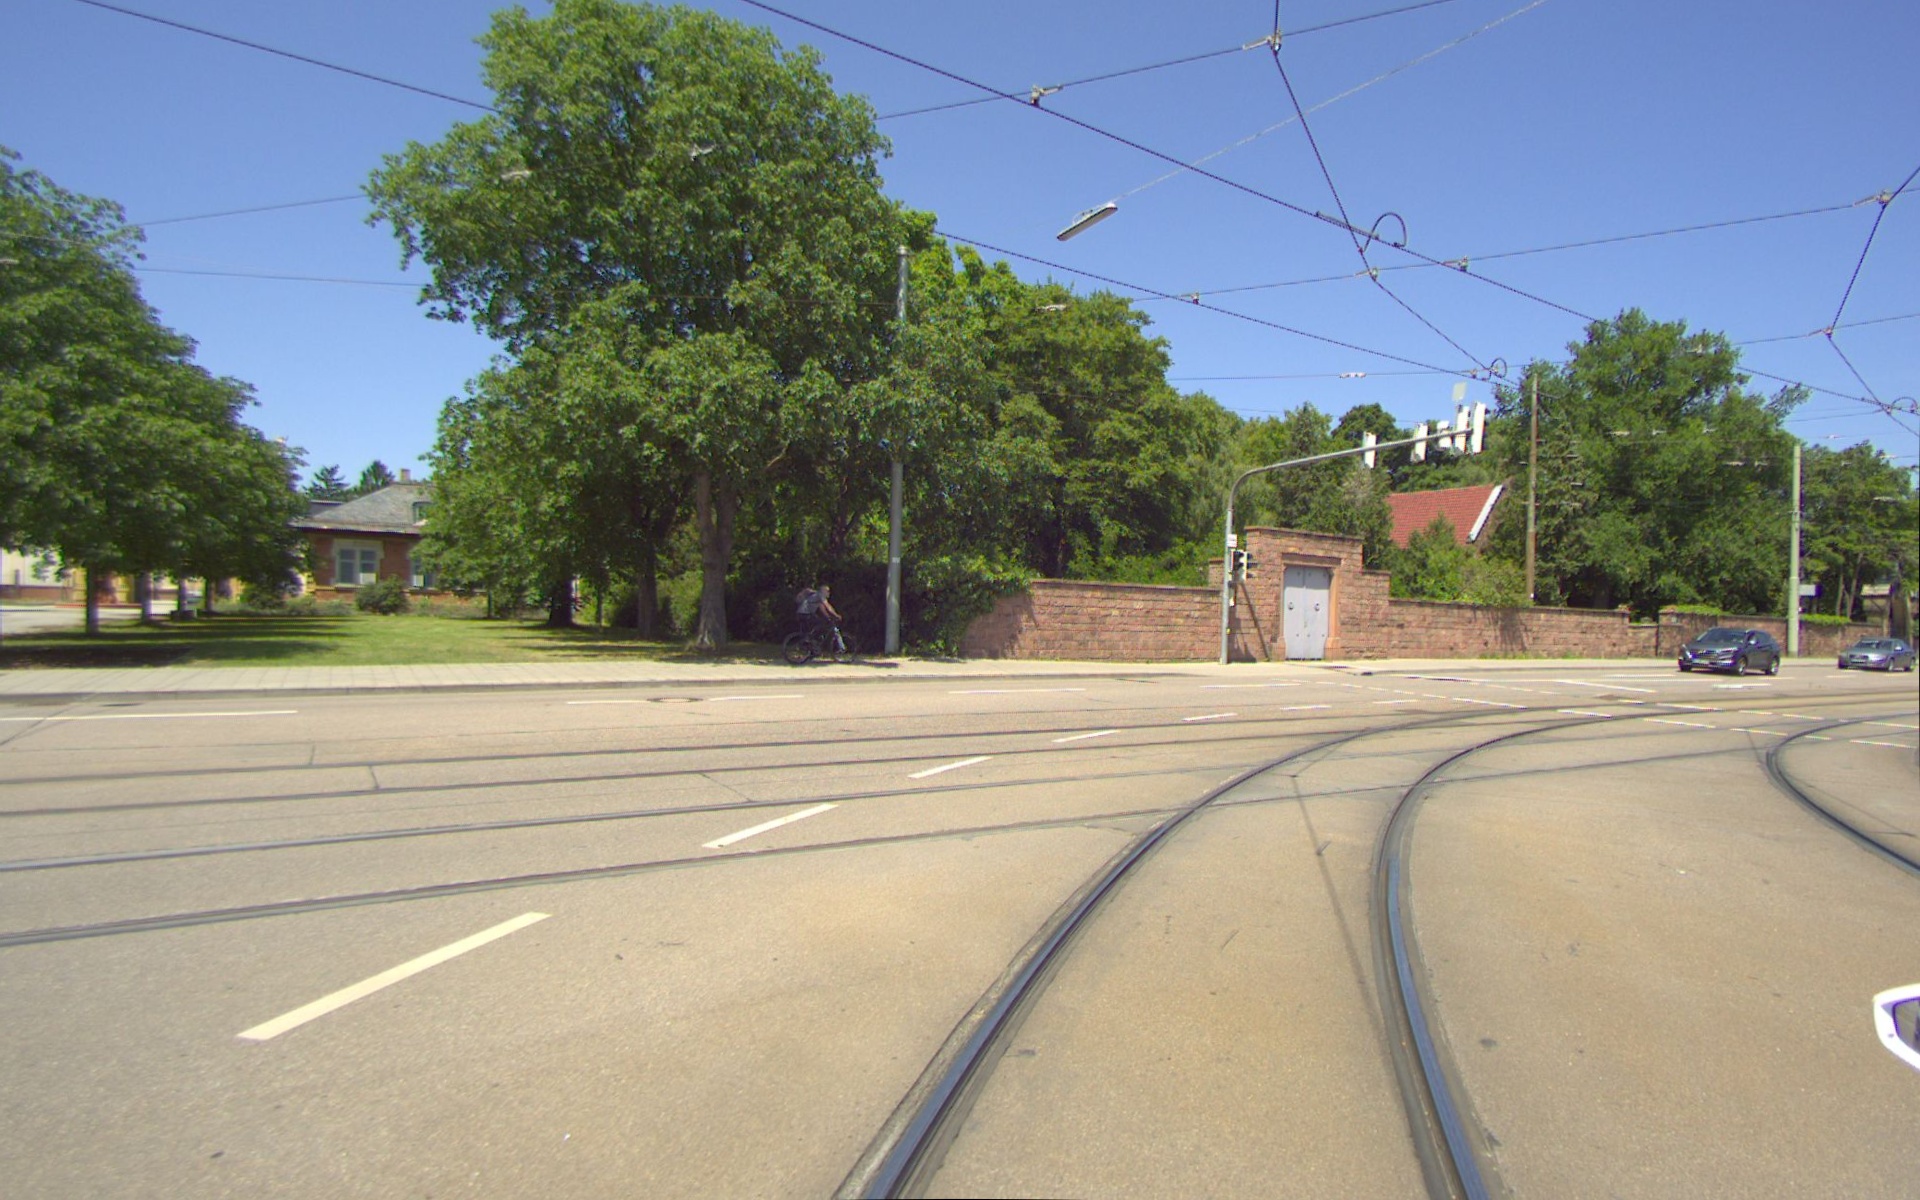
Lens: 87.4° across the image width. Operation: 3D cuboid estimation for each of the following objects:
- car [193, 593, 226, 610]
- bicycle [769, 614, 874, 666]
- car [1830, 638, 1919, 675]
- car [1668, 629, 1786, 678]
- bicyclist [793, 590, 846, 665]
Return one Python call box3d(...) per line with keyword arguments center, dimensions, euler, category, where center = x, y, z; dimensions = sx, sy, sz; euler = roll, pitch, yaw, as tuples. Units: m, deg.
box3d(center=(-43.933, 0.086, 58.834), dimensions=(1.316, 0.964, 2.712), euler=(2, 0, -32), category="car")
box3d(center=(-2.945, 0.860, 21.429), dimensions=(2.079, 1.055, 0.711), euler=(2, 0, -32), category="bicycle")
box3d(center=(39.803, 2.463, 43.704), dimensions=(4.117, 1.440, 1.634), euler=(2, 1, -29), category="car")
box3d(center=(27.611, 1.916, 36.139), dimensions=(4.467, 1.624, 1.811), euler=(2, 0, -31), category="car")
box3d(center=(-2.997, 0.584, 21.401), dimensions=(0.836, 1.551, 0.846), euler=(2, 0, -31), category="bicyclist")
